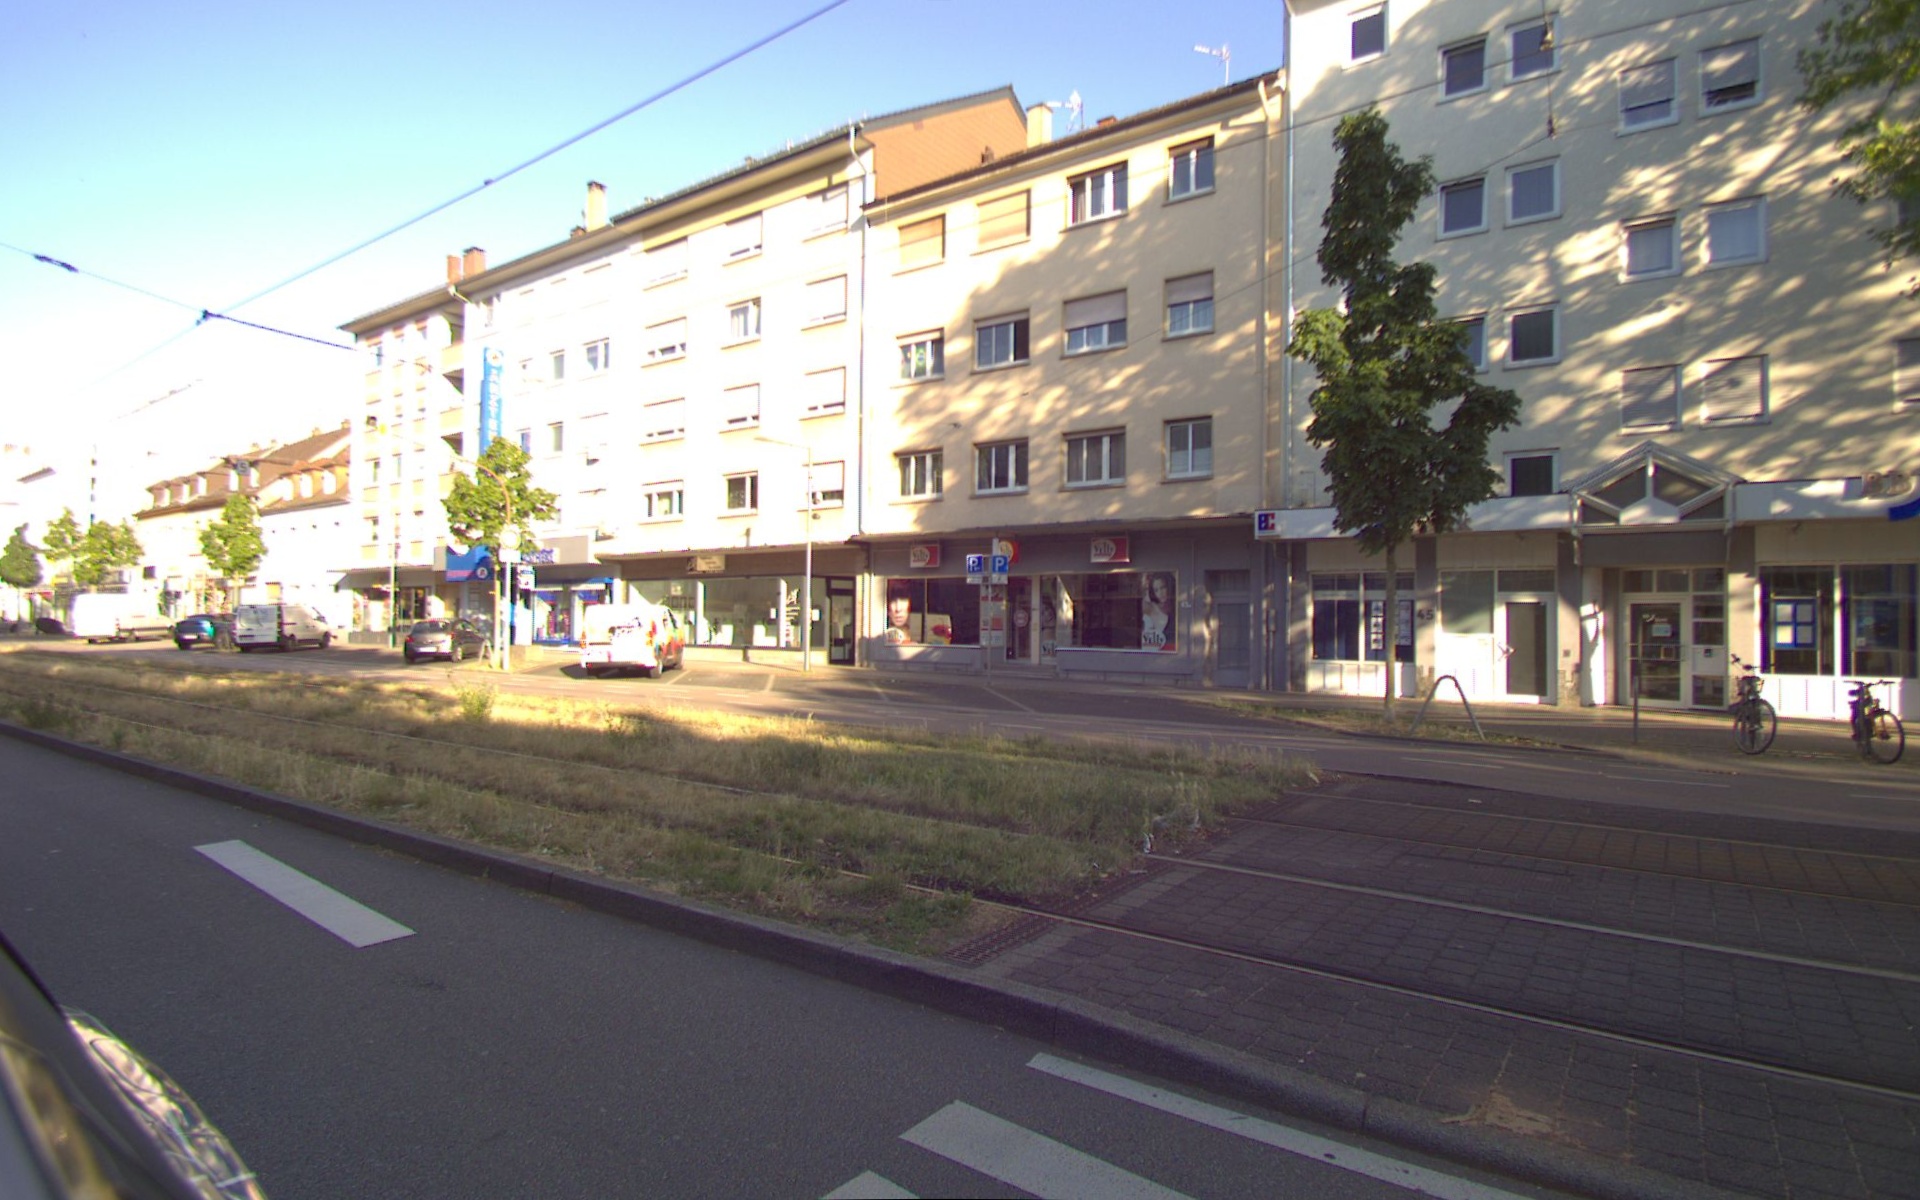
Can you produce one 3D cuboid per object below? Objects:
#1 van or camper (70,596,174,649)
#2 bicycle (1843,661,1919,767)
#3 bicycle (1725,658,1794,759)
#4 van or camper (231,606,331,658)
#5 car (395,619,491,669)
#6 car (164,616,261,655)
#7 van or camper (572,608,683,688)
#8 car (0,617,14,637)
[{"bbox_3d":[-45.390,1.162,55.020,1.966,2.687,6.417,-1,0,-16],"label":"van or camper"},{"bbox_3d":[11.387,1.359,12.441,0.533,1.133,1.878,-1,-1,34],"label":"bicycle"},{"bbox_3d":[10.363,1.365,13.160,0.533,1.133,1.878,-1,-1,34],"label":"bicycle"},{"bbox_3d":[-28.570,1.299,42.760,1.771,2.004,4.460,-1,0,-9],"label":"van or camper"},{"bbox_3d":[-17.619,1.451,34.706,1.741,1.501,4.461,-1,0,-11],"label":"car"},{"bbox_3d":[-34.304,1.597,46.582,1.850,1.598,4.007,-1,0,-7],"label":"car"},{"bbox_3d":[-8.893,1.211,27.495,1.921,1.912,4.822,-1,0,-6],"label":"van or camper"},{"bbox_3d":[-73.399,2.030,75.460,1.752,1.501,3.899,-1,0,13],"label":"car"}]
